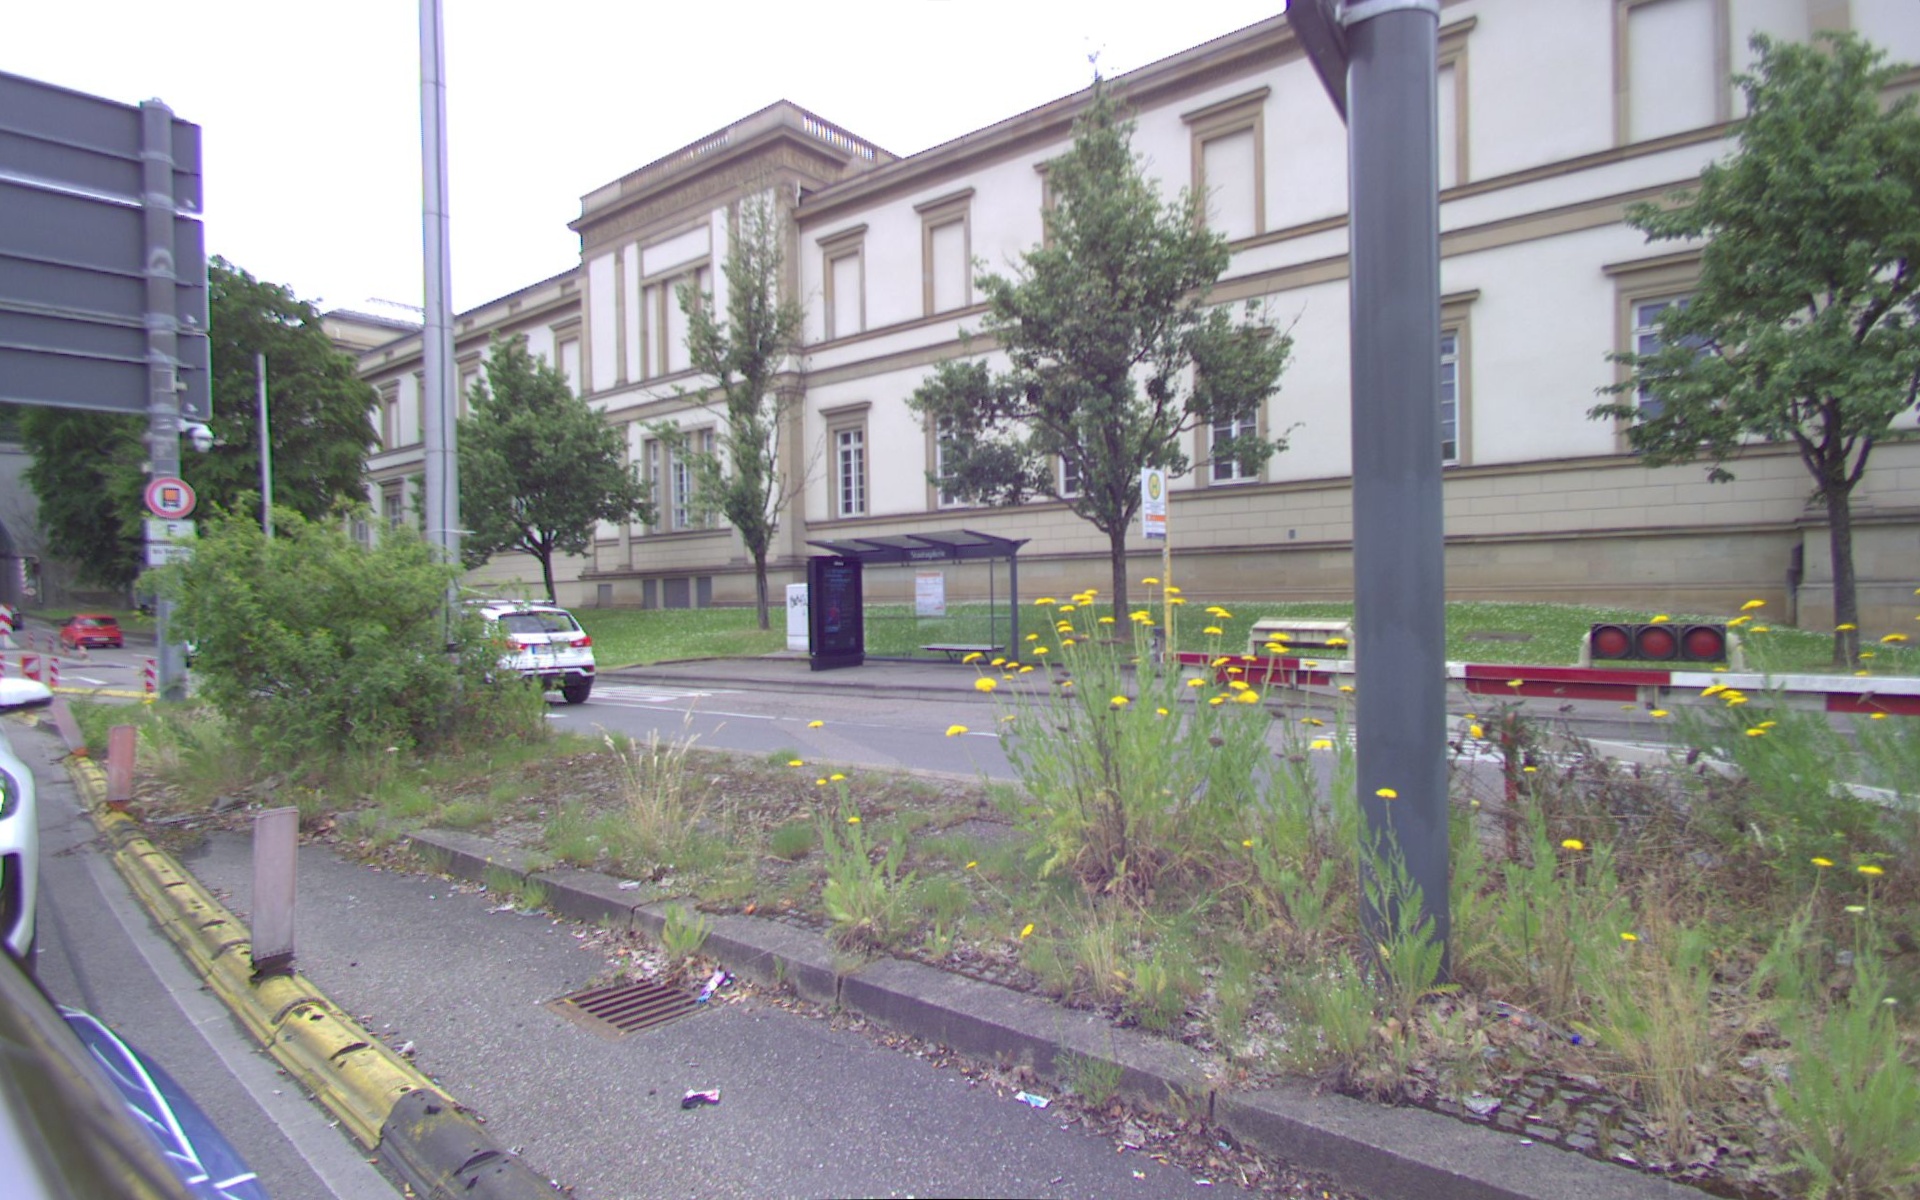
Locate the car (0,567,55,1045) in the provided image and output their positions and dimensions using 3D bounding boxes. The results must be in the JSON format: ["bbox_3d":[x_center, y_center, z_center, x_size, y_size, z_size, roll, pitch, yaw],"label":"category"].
[{"bbox_3d":[-5.203,0.730,4.074,3.670,1.637,1.961,-1,0,42],"label":"car"}]

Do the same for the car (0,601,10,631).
[{"bbox_3d":[-54.337,0.900,56.270,3.800,1.630,1.756,-1,0,40],"label":"car"}]

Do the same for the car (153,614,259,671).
[{"bbox_3d":[-24.561,1.338,32.911,4.265,1.704,1.851,-1,0,40],"label":"car"}]

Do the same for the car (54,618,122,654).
[{"bbox_3d":[-37.970,1.540,44.061,3.570,1.489,1.626,-1,-1,39],"label":"car"}]

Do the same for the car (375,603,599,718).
[{"bbox_3d":[-7.872,0.923,16.688,4.106,1.637,1.879,-2,-1,42],"label":"car"}]
